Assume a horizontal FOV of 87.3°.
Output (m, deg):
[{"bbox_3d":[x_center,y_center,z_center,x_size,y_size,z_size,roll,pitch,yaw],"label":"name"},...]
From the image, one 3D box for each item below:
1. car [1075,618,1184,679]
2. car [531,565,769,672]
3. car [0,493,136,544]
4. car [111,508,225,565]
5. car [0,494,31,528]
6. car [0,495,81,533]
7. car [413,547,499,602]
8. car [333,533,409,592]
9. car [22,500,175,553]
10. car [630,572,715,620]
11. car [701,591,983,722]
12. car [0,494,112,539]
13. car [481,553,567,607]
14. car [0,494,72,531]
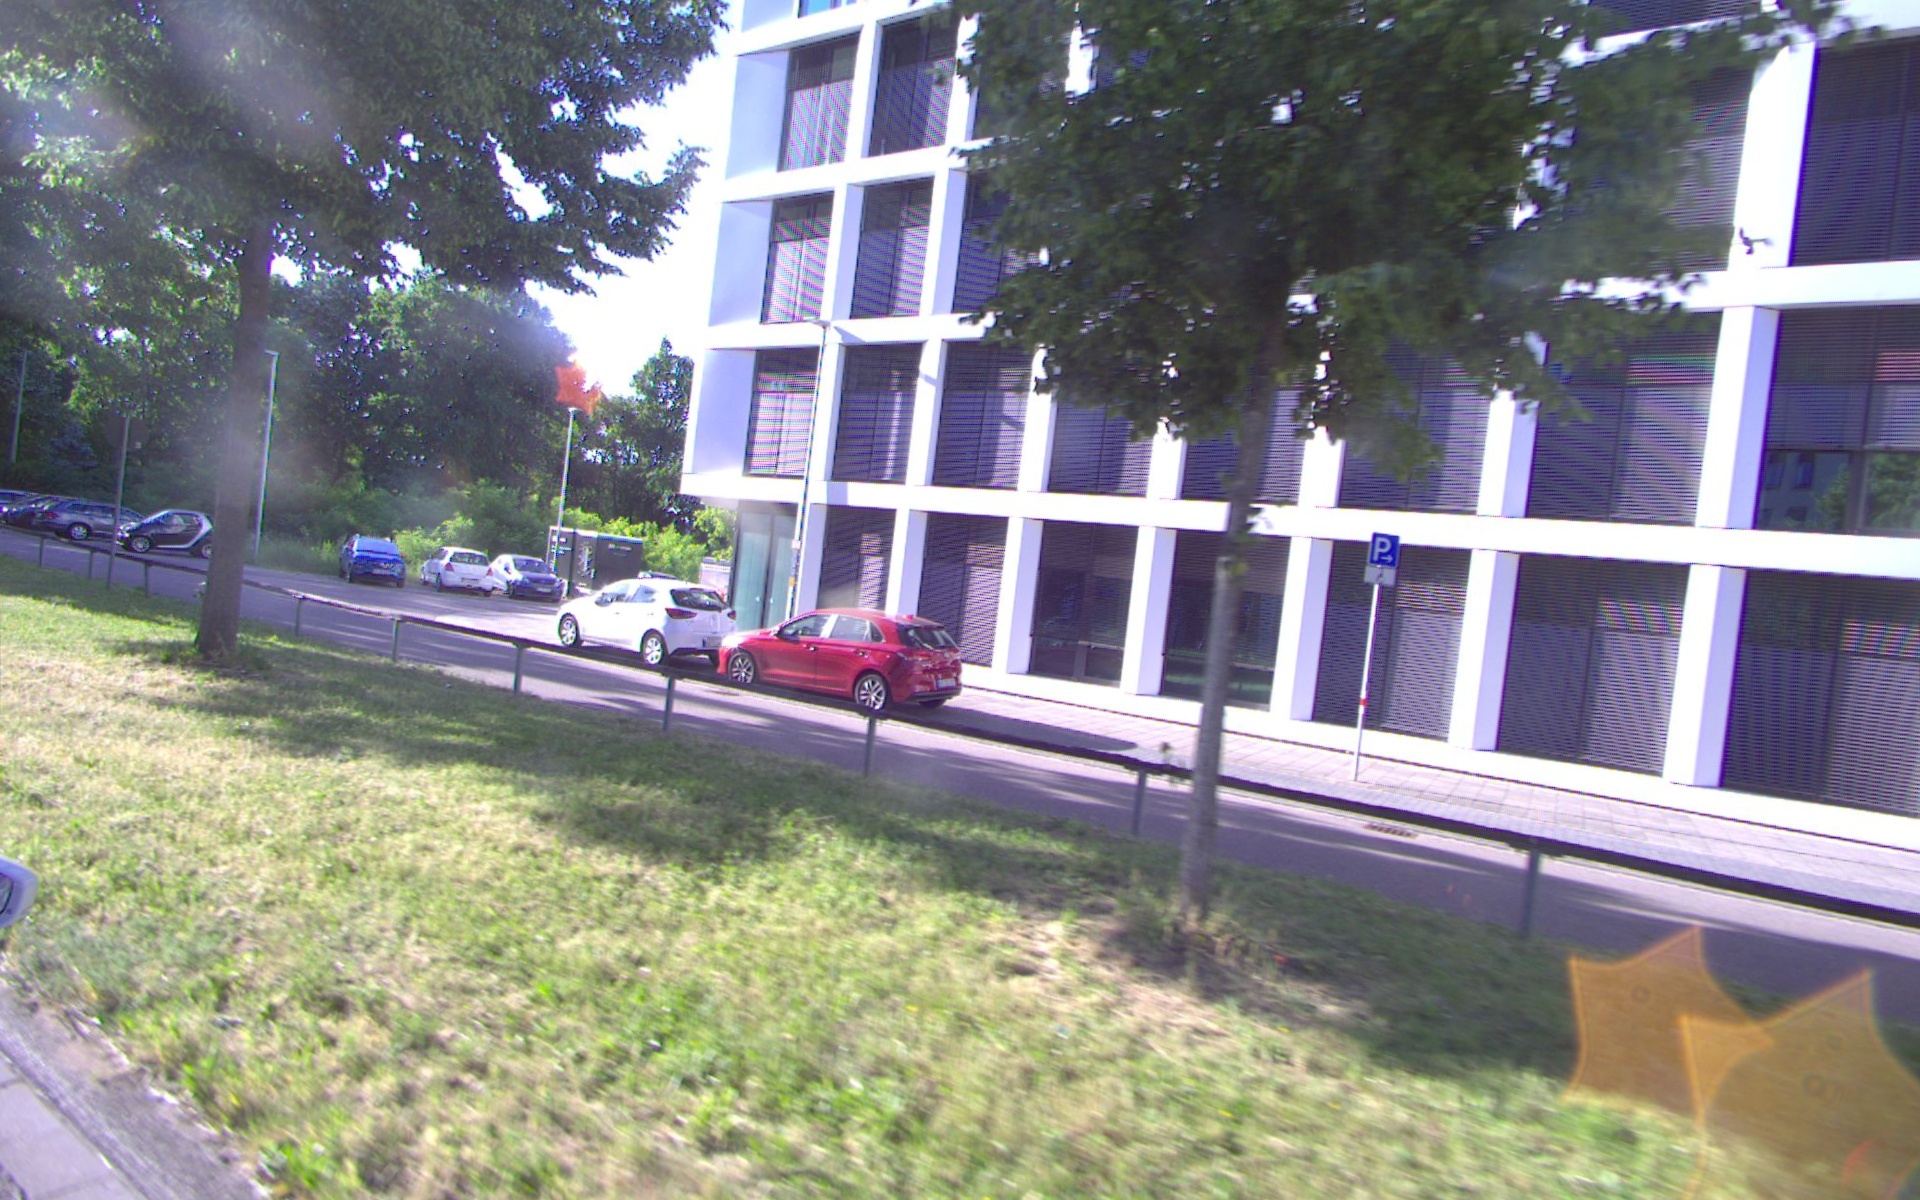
[{"bbox_3d":[7.099,2.018,42.440,1.988,2.037,3.953,9,-2,-42],"label":"car"},{"bbox_3d":[-5.919,0.304,19.019,4.333,1.506,1.992,6,2,35],"label":"car"},{"bbox_3d":[-37.131,-3.359,41.696,1.752,1.517,4.197,7,0,29],"label":"car"},{"bbox_3d":[-26.824,-2.137,34.105,1.442,1.569,2.761,6,0,41],"label":"car"},{"bbox_3d":[-48.348,-4.605,49.069,1.734,1.523,3.997,7,-1,26],"label":"car"},{"bbox_3d":[-42.235,-3.889,44.735,1.968,1.430,4.376,7,3,34],"label":"car"},{"bbox_3d":[-17.625,-0.904,35.097,1.740,1.553,3.840,9,-2,-39],"label":"car"},{"bbox_3d":[-19.415,-1.263,33.085,1.585,1.565,3.778,6,2,-38],"label":"car"},{"bbox_3d":[-32.893,-2.787,38.521,1.688,1.486,4.081,6,1,33],"label":"car"},{"bbox_3d":[-11.616,-0.193,40.501,1.774,1.513,3.840,9,-2,-39],"label":"car"},{"bbox_3d":[-1.948,0.822,16.202,4.202,1.506,1.865,6,2,32],"label":"car"},{"bbox_3d":[-39.671,-3.644,43.349,1.874,1.497,4.333,8,2,28],"label":"car"},{"bbox_3d":[-15.836,-0.751,36.471,1.711,1.558,3.909,9,-2,-39],"label":"car"},{"bbox_3d":[-44.479,-4.173,46.570,1.967,1.425,4.718,7,2,32],"label":"car"}]
